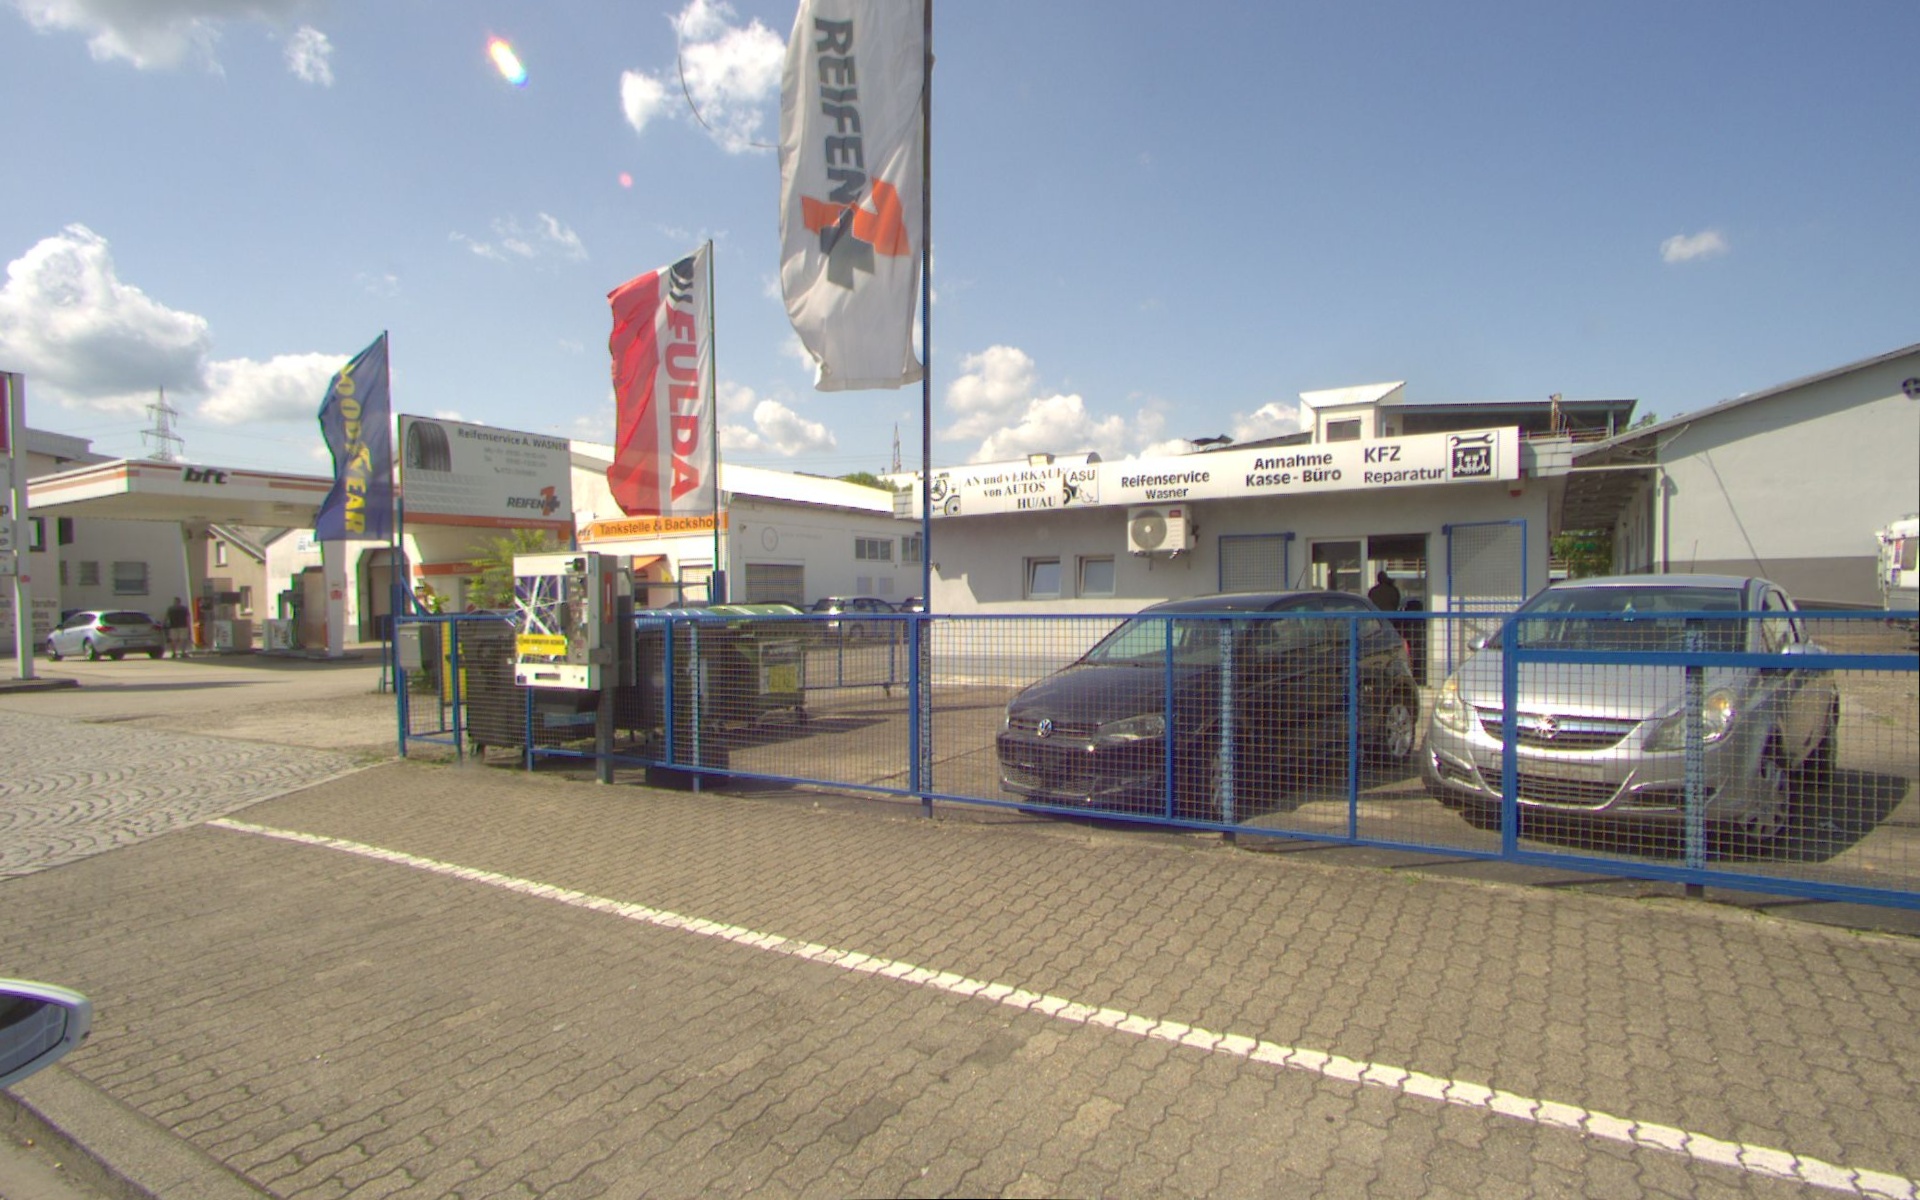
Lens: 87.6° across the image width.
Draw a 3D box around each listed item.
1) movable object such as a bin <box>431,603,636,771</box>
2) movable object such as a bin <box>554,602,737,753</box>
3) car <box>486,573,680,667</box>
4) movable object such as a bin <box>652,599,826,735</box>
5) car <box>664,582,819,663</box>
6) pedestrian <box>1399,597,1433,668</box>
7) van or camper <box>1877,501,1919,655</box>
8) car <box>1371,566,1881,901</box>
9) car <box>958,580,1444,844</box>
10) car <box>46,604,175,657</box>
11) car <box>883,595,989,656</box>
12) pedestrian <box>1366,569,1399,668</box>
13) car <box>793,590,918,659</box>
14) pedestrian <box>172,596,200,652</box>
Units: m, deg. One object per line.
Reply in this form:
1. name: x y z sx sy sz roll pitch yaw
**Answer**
1. movable object such as a bin: -4.131 0.781 9.742 1.434 1.473 1.224 0 1 31
2. movable object such as a bin: -3.371 0.773 10.782 1.434 1.473 1.224 0 1 31
3. car: -8.912 0.434 23.980 1.971 2.040 3.979 0 0 32
4. movable object such as a bin: -2.605 0.740 11.897 1.433 1.473 1.427 0 1 31
5. car: -5.946 0.570 27.633 1.971 2.040 3.979 0 0 32
6. pedestrian: 7.980 0.560 17.521 0.480 1.229 0.499 0 1 30
7. van or camper: 21.348 -0.461 19.316 4.983 3.002 2.276 0 1 31
8. car: 4.502 0.584 6.508 4.104 1.499 1.787 -1 0 -42
9. car: 2.015 0.624 7.645 3.962 1.499 1.705 -1 1 -43
10. car: -25.831 0.889 30.433 3.950 1.499 1.829 -1 1 31
11. car: -0.802 0.863 35.874 1.971 2.040 3.979 0 0 32
12. pedestrian: 7.430 0.324 17.605 0.480 1.710 0.499 0 1 30
13. car: -3.262 0.727 31.985 1.971 2.040 3.979 0 0 32
14. pedestrian: -23.737 0.729 30.714 0.628 1.705 0.618 -1 1 -36
